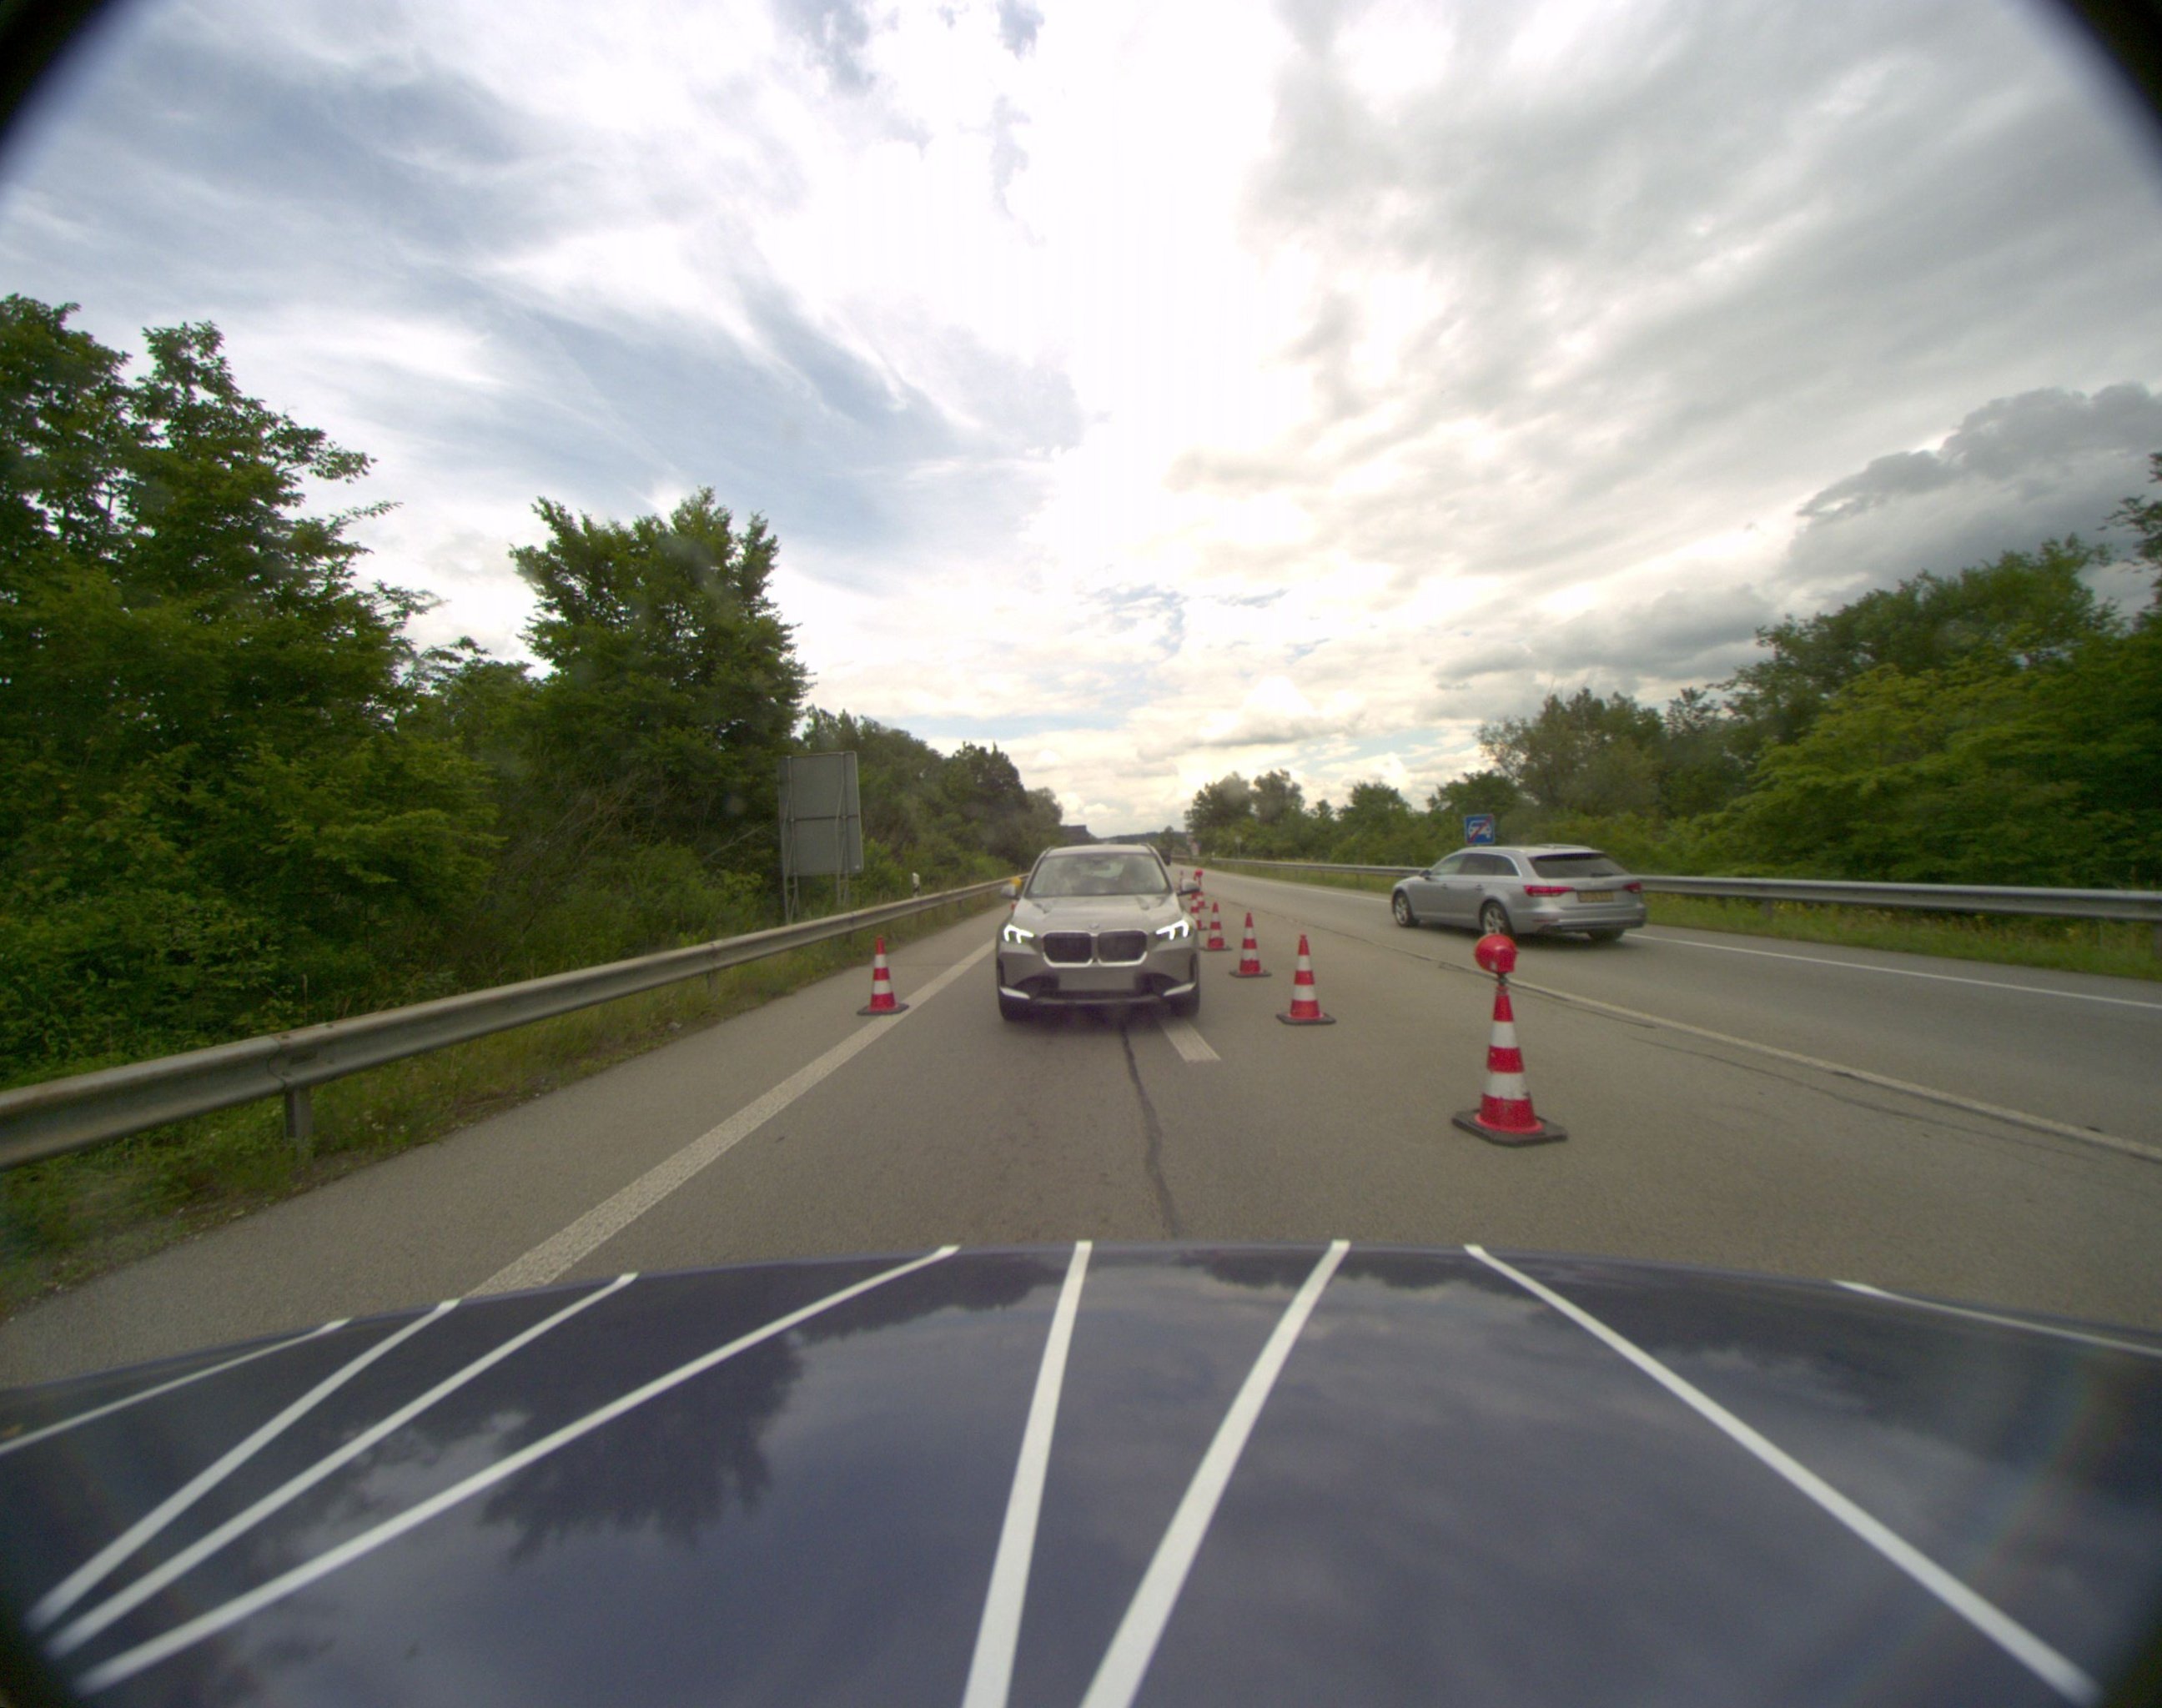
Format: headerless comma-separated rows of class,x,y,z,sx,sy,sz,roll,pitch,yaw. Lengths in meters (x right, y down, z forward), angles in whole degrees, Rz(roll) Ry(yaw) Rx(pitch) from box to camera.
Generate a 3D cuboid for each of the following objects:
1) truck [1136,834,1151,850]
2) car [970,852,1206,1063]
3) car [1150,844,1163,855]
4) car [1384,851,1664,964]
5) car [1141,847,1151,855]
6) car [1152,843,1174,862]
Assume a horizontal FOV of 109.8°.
truck,15.295,-2.863,185.595,3.113,3.682,9.544,-2,0,3
car,0.175,0.819,8.213,1.817,1.598,4.434,-2,0,3
car,12.660,-0.760,127.005,1.929,1.820,4.533,-2,0,3
car,6.602,0.682,11.998,1.683,1.394,4.373,-2,0,-3
car,13.361,-0.632,156.321,1.929,1.597,4.533,-2,0,3
car,9.010,-0.223,83.707,2.034,1.976,5.316,-2,0,3
